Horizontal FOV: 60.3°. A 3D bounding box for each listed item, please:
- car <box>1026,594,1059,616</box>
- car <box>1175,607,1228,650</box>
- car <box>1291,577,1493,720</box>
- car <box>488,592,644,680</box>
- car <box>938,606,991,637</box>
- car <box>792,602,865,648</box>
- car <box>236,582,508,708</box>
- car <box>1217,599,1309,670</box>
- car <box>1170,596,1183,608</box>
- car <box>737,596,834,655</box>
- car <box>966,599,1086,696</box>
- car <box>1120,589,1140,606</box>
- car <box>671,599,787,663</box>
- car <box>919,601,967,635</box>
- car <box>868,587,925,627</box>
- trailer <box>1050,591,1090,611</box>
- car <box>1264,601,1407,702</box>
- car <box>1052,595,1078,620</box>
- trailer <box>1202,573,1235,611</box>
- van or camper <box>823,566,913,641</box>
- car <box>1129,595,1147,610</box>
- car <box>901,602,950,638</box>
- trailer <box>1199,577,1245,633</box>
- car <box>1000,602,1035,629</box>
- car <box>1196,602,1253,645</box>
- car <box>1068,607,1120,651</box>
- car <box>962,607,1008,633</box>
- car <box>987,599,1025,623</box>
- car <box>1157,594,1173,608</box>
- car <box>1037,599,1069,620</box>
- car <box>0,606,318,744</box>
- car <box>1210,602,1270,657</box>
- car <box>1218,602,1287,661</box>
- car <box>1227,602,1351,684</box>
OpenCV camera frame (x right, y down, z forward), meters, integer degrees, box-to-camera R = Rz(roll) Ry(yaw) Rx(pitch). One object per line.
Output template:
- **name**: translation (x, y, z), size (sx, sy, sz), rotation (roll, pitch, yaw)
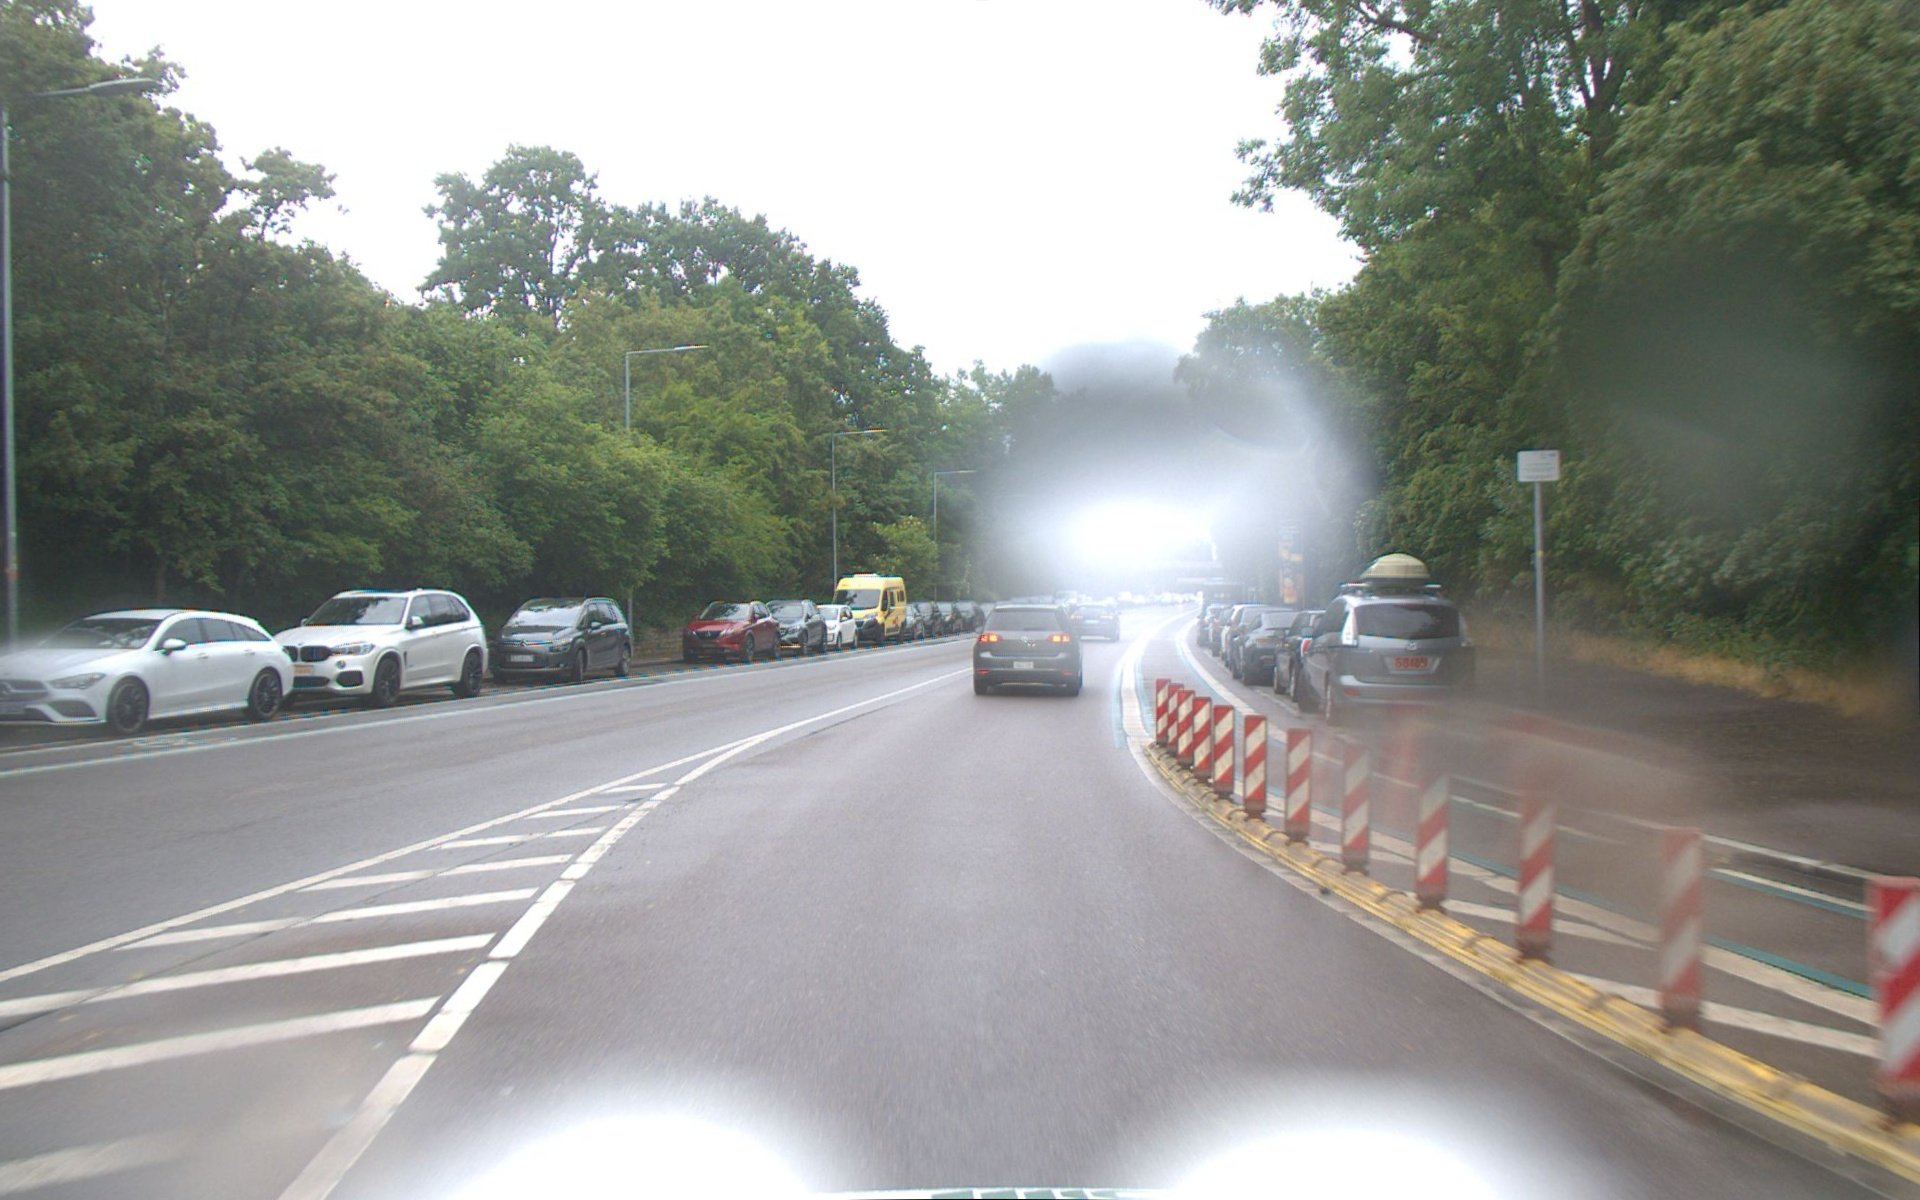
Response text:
- **car**: translation (5.964, 0.345, 118.970), size (1.839, 1.589, 4.472), rotation (0, 0, 9)
- **car**: translation (9.243, 1.083, 63.491), size (1.783, 1.511, 4.203), rotation (2, 0, 6)
- **car**: translation (5.431, 0.571, 21.305), size (1.783, 1.643, 4.254), rotation (0, 0, 4)
- **car**: translation (-7.999, 0.694, 34.002), size (1.694, 1.677, 4.574), rotation (0, 0, 6)
- **car**: translation (0.268, 1.059, 82.430), size (1.951, 1.477, 4.142), rotation (0, 0, 10)
- **car**: translation (-4.372, 0.816, 55.629), size (1.583, 1.474, 3.660), rotation (-1, 0, 9)
- **car**: translation (-9.098, 0.658, 26.144), size (1.951, 1.796, 4.964), rotation (0, 0, 8)
- **car**: translation (6.908, 0.742, 38.086), size (1.817, 1.480, 4.754), rotation (1, 0, 7)
- **car**: translation (32.577, 0.297, 248.977), size (1.783, 1.736, 3.860), rotation (1, 0, 9)
- **car**: translation (-5.312, 0.744, 50.986), size (1.951, 1.730, 4.619), rotation (0, 0, 7)
- **car**: translation (1.135, 0.776, 27.916), size (1.832, 1.466, 4.297), rotation (1, -1, 3)
- **car**: translation (20.913, -0.274, 203.228), size (2.112, 2.049, 5.035), rotation (0, 0, 10)
- **car**: translation (-6.261, 0.802, 45.320), size (1.878, 1.645, 4.493), rotation (-1, 0, 9)
- **car**: translation (-0.786, 0.827, 78.141), size (1.568, 1.536, 3.980), rotation (0, 0, 10)
- **car**: translation (-2.519, 0.286, 66.699), size (1.644, 1.524, 4.152), rotation (-1, 0, 7)
- **trailer**: translation (9.376, 0.088, 140.674), size (1.600, 1.657, 3.653), rotation (0, 0, 40)
- **car**: translation (5.902, 0.772, 26.346), size (1.661, 1.437, 3.705), rotation (2, 0, 4)
- **car**: translation (8.615, 0.616, 135.861), size (1.898, 2.049, 4.743), rotation (0, 0, 6)
- **trailer**: translation (18.081, -0.551, 115.791), size (2.086, 2.605, 4.300), rotation (0, 0, 7)
- **van or camper**: translation (-3.370, 0.132, 61.876), size (2.098, 2.673, 5.687), rotation (0, 0, 10)
- **car**: translation (24.620, 0.286, 228.907), size (2.112, 2.049, 5.035), rotation (0, 0, 10)
- **car**: translation (-1.501, 0.850, 72.833), size (1.568, 1.536, 3.141), rotation (0, 0, 10)
- **trailer**: translation (11.008, 0.192, 69.722), size (1.865, 2.287, 4.772), rotation (0, 0, 8)
- **car**: translation (3.529, 0.931, 100.585), size (1.660, 1.611, 4.142), rotation (0, 0, 9)
- **car**: translation (9.326, 0.800, 58.634), size (1.714, 1.418, 4.449), rotation (2, 0, 6)
- **car**: translation (5.075, 1.064, 62.288), size (1.841, 1.491, 4.003), rotation (2, 0, 6)
- **car**: translation (1.351, 1.045, 87.655), size (1.830, 1.326, 4.474), rotation (0, 0, 9)
- **car**: translation (2.705, 0.632, 95.756), size (1.660, 1.323, 4.196), rotation (0, 0, 9)
- **car**: translation (26.355, 0.082, 212.586), size (1.783, 1.736, 3.860), rotation (1, 0, 9)
- **car**: translation (7.081, 0.723, 125.419), size (1.951, 1.514, 4.472), rotation (0, 0, 9)
- **car**: translation (-10.025, 0.829, 20.552), size (1.682, 1.486, 4.712), rotation (0, 0, 9)
- **car**: translation (8.220, 0.839, 48.752), size (1.623, 1.490, 3.903), rotation (2, 0, 8)
- **car**: translation (7.701, 0.797, 43.824), size (1.526, 1.486, 3.678), rotation (1, 0, 6)
- **car**: translation (6.253, 0.777, 31.878), size (1.814, 1.423, 4.388), rotation (1, 0, 4)
